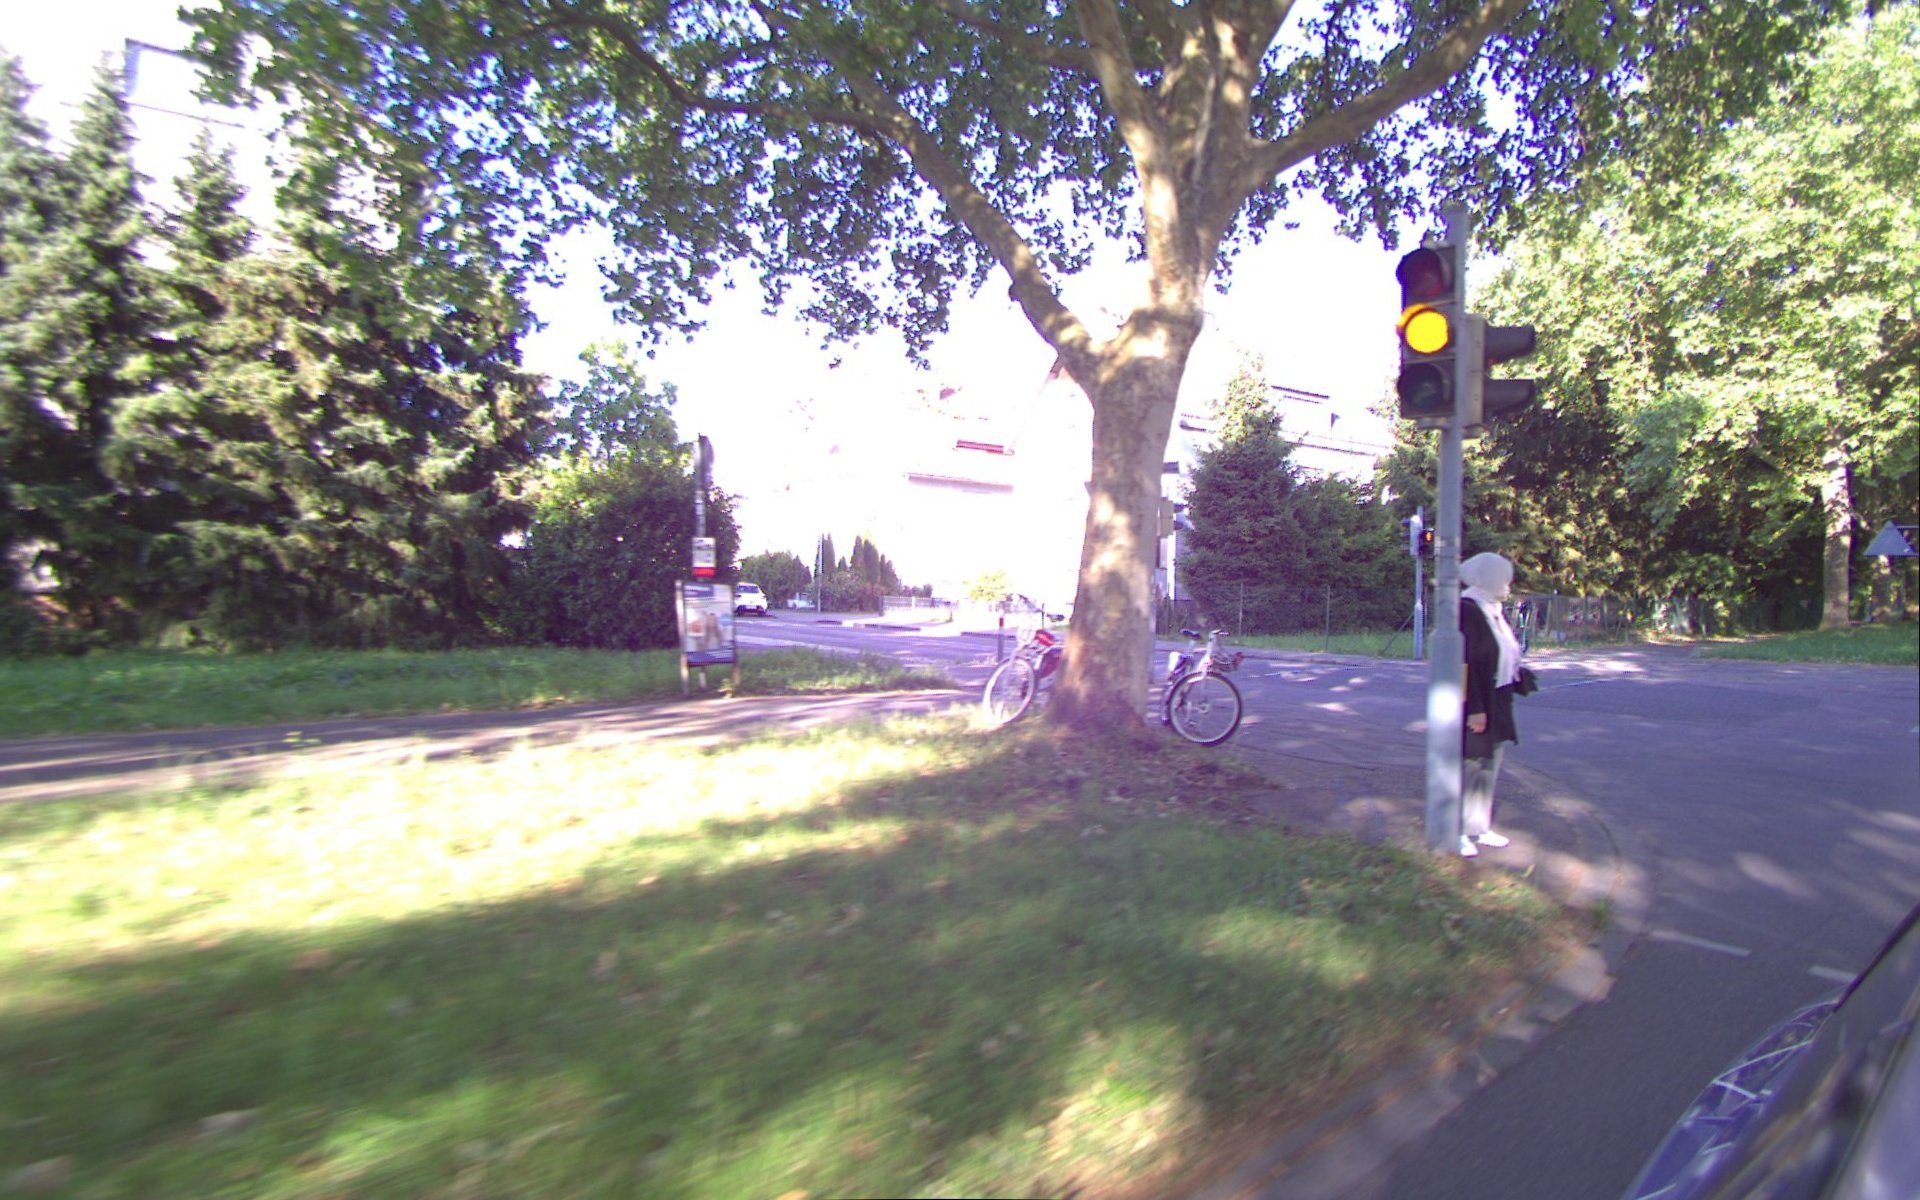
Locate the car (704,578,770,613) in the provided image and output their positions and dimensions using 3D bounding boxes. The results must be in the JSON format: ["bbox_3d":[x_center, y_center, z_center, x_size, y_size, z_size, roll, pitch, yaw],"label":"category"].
[{"bbox_3d":[-9.711,-0.218,43.938,1.796,1.411,3.569,1,1,-30],"label":"car"}]

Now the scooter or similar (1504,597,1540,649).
[{"bbox_3d":[13.372,0.544,24.078,1.233,1.211,0.383,1,-1,-43],"label":"scooter or similar"}]

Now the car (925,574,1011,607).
[{"bbox_3d":[0.360,-0.431,46.187,3.511,1.439,1.708,1,0,-27],"label":"car"}]

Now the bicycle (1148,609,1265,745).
[{"bbox_3d":[2.193,0.641,9.205,0.437,1.048,1.722,3,1,-5],"label":"bicycle"}]

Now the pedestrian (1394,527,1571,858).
[{"bbox_3d":[3.028,0.477,5.859,0.634,1.740,0.813,5,3,42],"label":"pedestrian"}]

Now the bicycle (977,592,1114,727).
[{"bbox_3d":[0.847,0.505,9.422,0.443,1.096,1.987,4,1,29],"label":"bicycle"}]

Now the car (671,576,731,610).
[{"bbox_3d":[-12.193,-0.322,47.568,1.634,1.531,3.565,1,0,-34],"label":"car"}]
